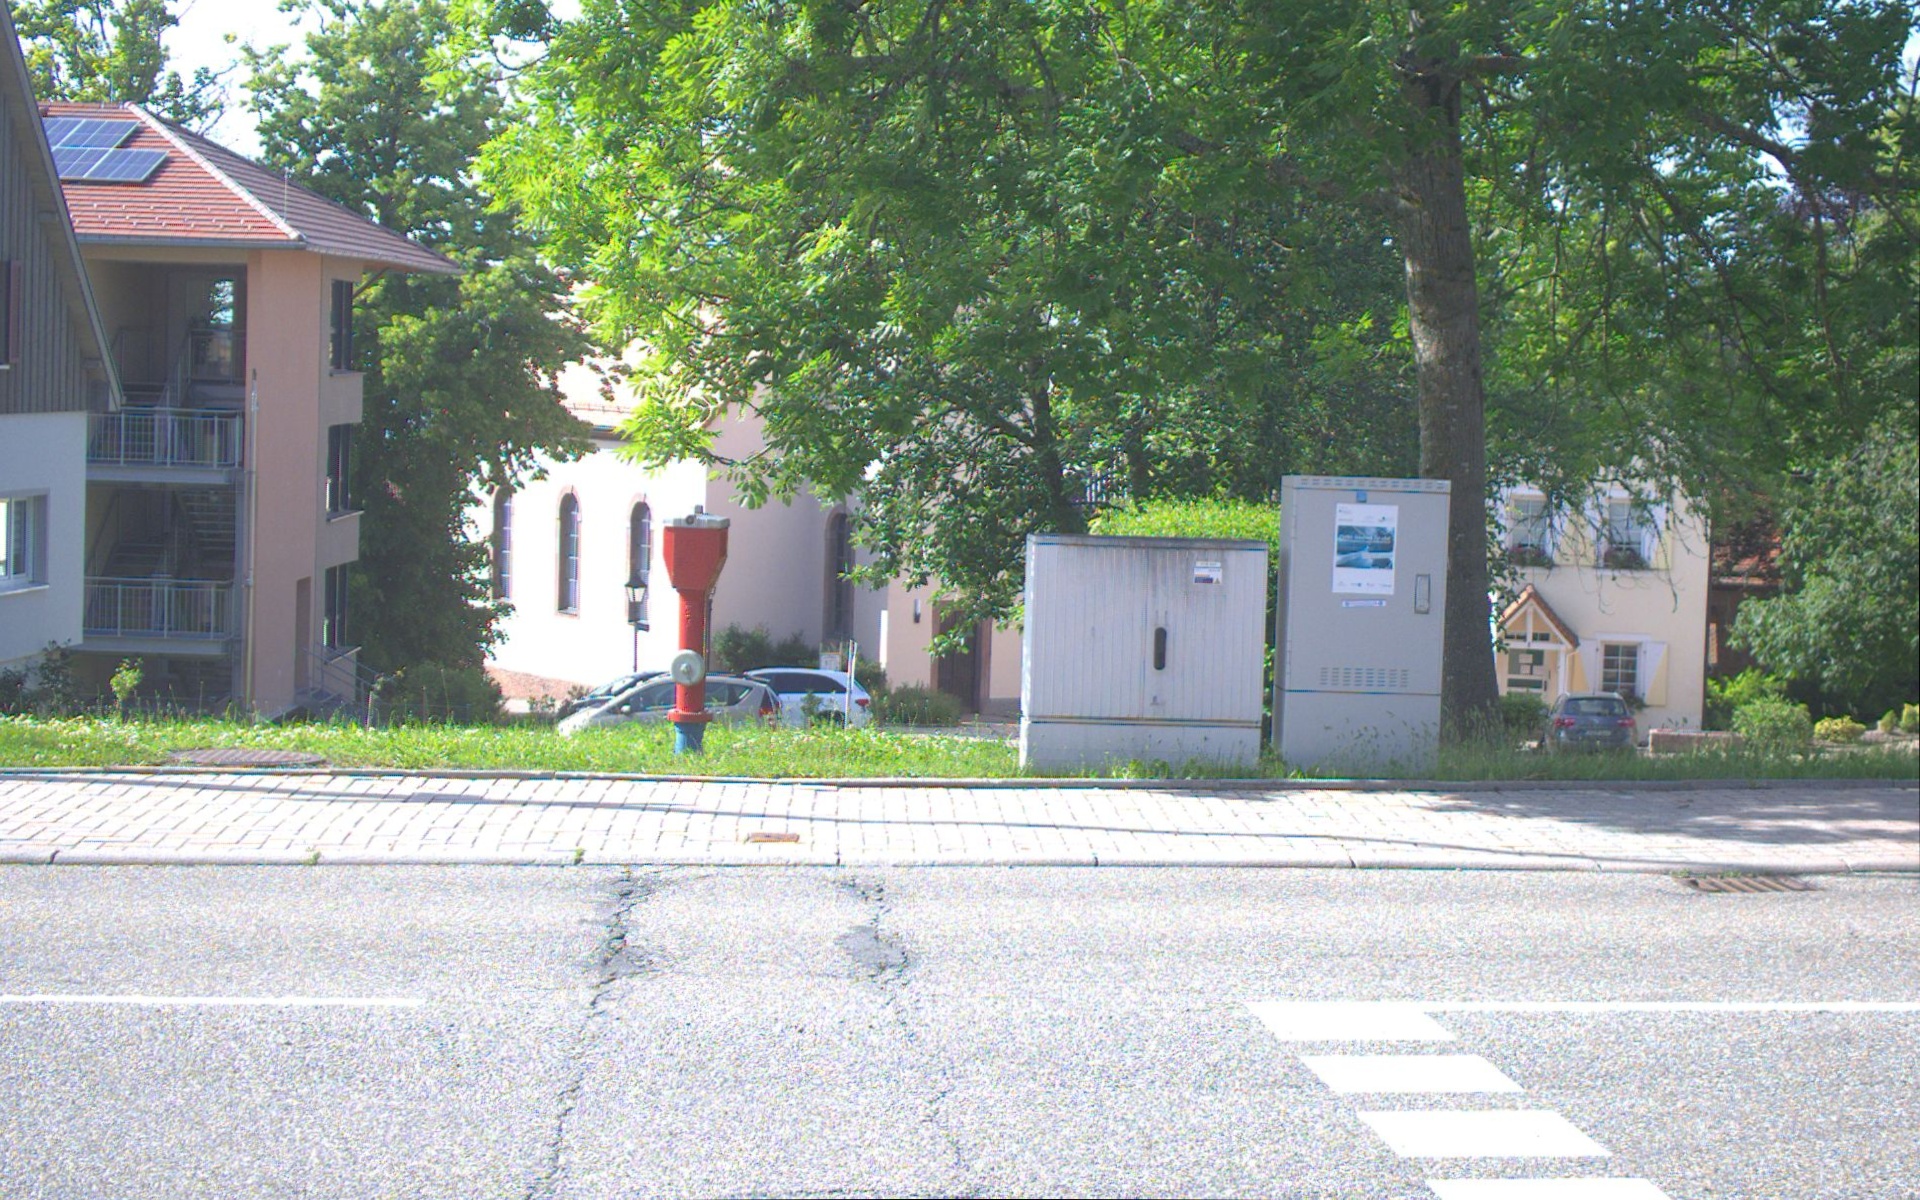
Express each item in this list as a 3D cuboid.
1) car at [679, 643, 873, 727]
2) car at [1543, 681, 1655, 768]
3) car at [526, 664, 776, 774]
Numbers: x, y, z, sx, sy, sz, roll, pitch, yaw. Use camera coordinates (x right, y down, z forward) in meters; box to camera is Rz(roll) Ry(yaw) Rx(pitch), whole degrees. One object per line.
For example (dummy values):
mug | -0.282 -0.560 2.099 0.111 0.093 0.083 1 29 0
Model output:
car | -3.689 1.686 68.464 3.772 1.588 1.714 1 0 -6
car | 12.569 2.438 67.817 1.708 1.536 3.785 0 0 4
car | -5.169 1.987 57.616 4.089 1.752 1.714 1 0 -5
